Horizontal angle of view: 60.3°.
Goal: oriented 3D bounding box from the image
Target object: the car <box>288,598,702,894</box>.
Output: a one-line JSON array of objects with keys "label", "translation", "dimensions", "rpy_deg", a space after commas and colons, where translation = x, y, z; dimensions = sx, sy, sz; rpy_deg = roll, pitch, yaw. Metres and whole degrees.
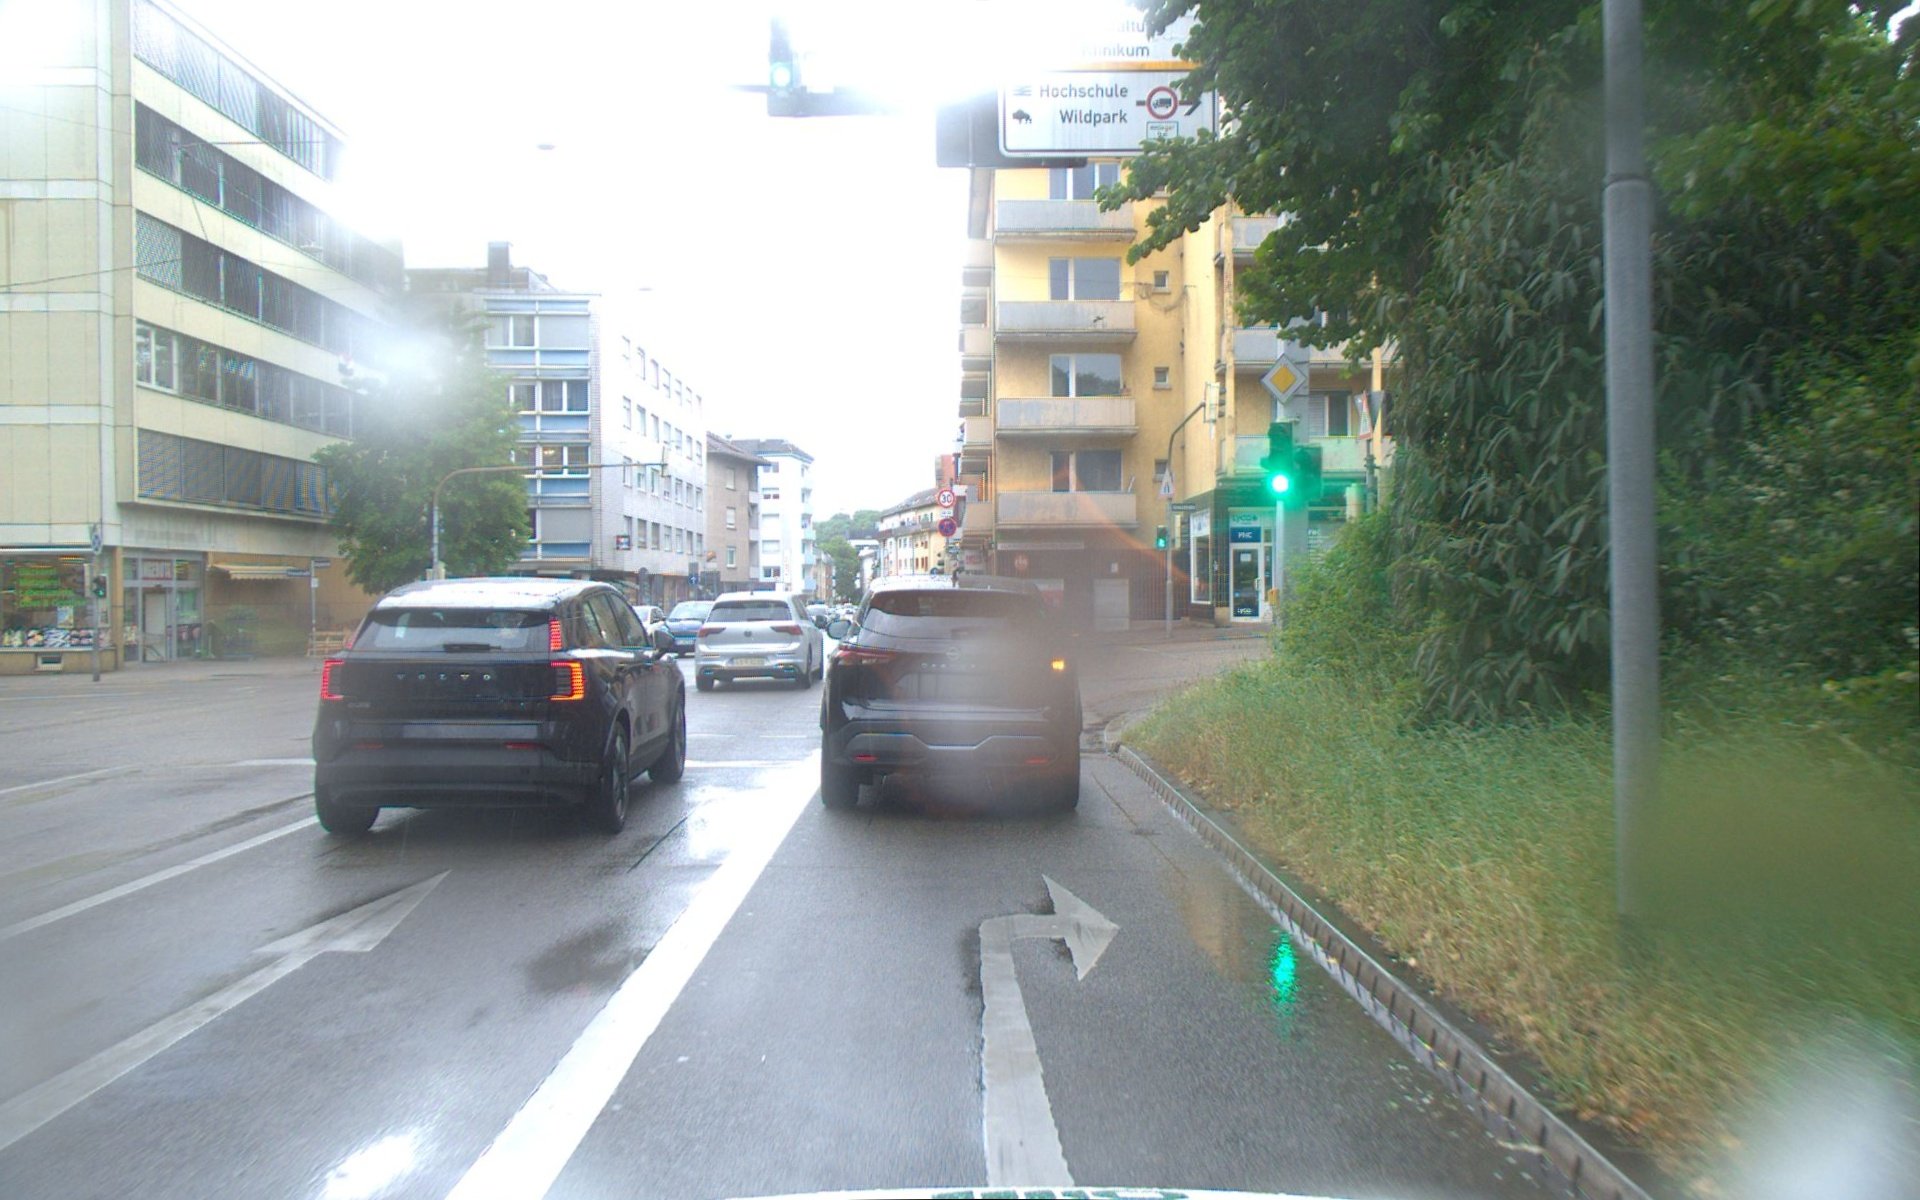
[{"label": "car", "translation": [-2.648, 0.734, 10.323], "dimensions": [1.580, 1.445, 3.965], "rpy_deg": [0, 1, -2]}]

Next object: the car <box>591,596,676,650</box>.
[{"label": "car", "translation": [-10.194, 0.692, 51.897], "dimensions": [1.743, 1.504, 3.794], "rpy_deg": [-4, 0, 2]}]

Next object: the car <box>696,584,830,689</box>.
[{"label": "car", "translation": [-2.995, 0.503, 25.838], "dimensions": [1.731, 1.469, 3.998], "rpy_deg": [-1, 1, -2]}]

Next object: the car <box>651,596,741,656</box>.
[{"label": "car", "translation": [-7.296, 0.680, 46.051], "dimensions": [1.750, 1.517, 3.814], "rpy_deg": [-3, 0, 1]}]

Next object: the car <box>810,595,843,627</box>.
[{"label": "car", "translation": [-9.321, 0.757, 115.870], "dimensions": [1.872, 2.048, 3.999], "rpy_deg": [-3, 0, -1]}]

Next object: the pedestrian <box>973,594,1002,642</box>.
[{"label": "pedestrian", "translation": [0.961, 0.619, 58.121], "dimensions": [0.818, 1.584, 0.832], "rpy_deg": [-6, 0, -2]}]

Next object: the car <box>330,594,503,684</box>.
[{"label": "car", "translation": [-10.863, 0.729, 33.360], "dimensions": [1.953, 1.520, 4.089], "rpy_deg": [-4, 1, 1]}]

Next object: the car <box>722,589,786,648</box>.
[{"label": "car", "translation": [-6.896, 0.592, 55.707], "dimensions": [1.744, 1.847, 4.404], "rpy_deg": [-2, 0, -3]}]

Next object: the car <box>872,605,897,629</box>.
[{"label": "car", "translation": [-6.733, 1.522, 148.234], "dimensions": [1.953, 2.048, 4.000], "rpy_deg": [-3, 0, 0]}]

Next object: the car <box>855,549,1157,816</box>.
[{"label": "car", "translation": [0.226, 0.520, 12.646], "dimensions": [1.920, 1.681, 3.998], "rpy_deg": [1, 0, -2]}]
